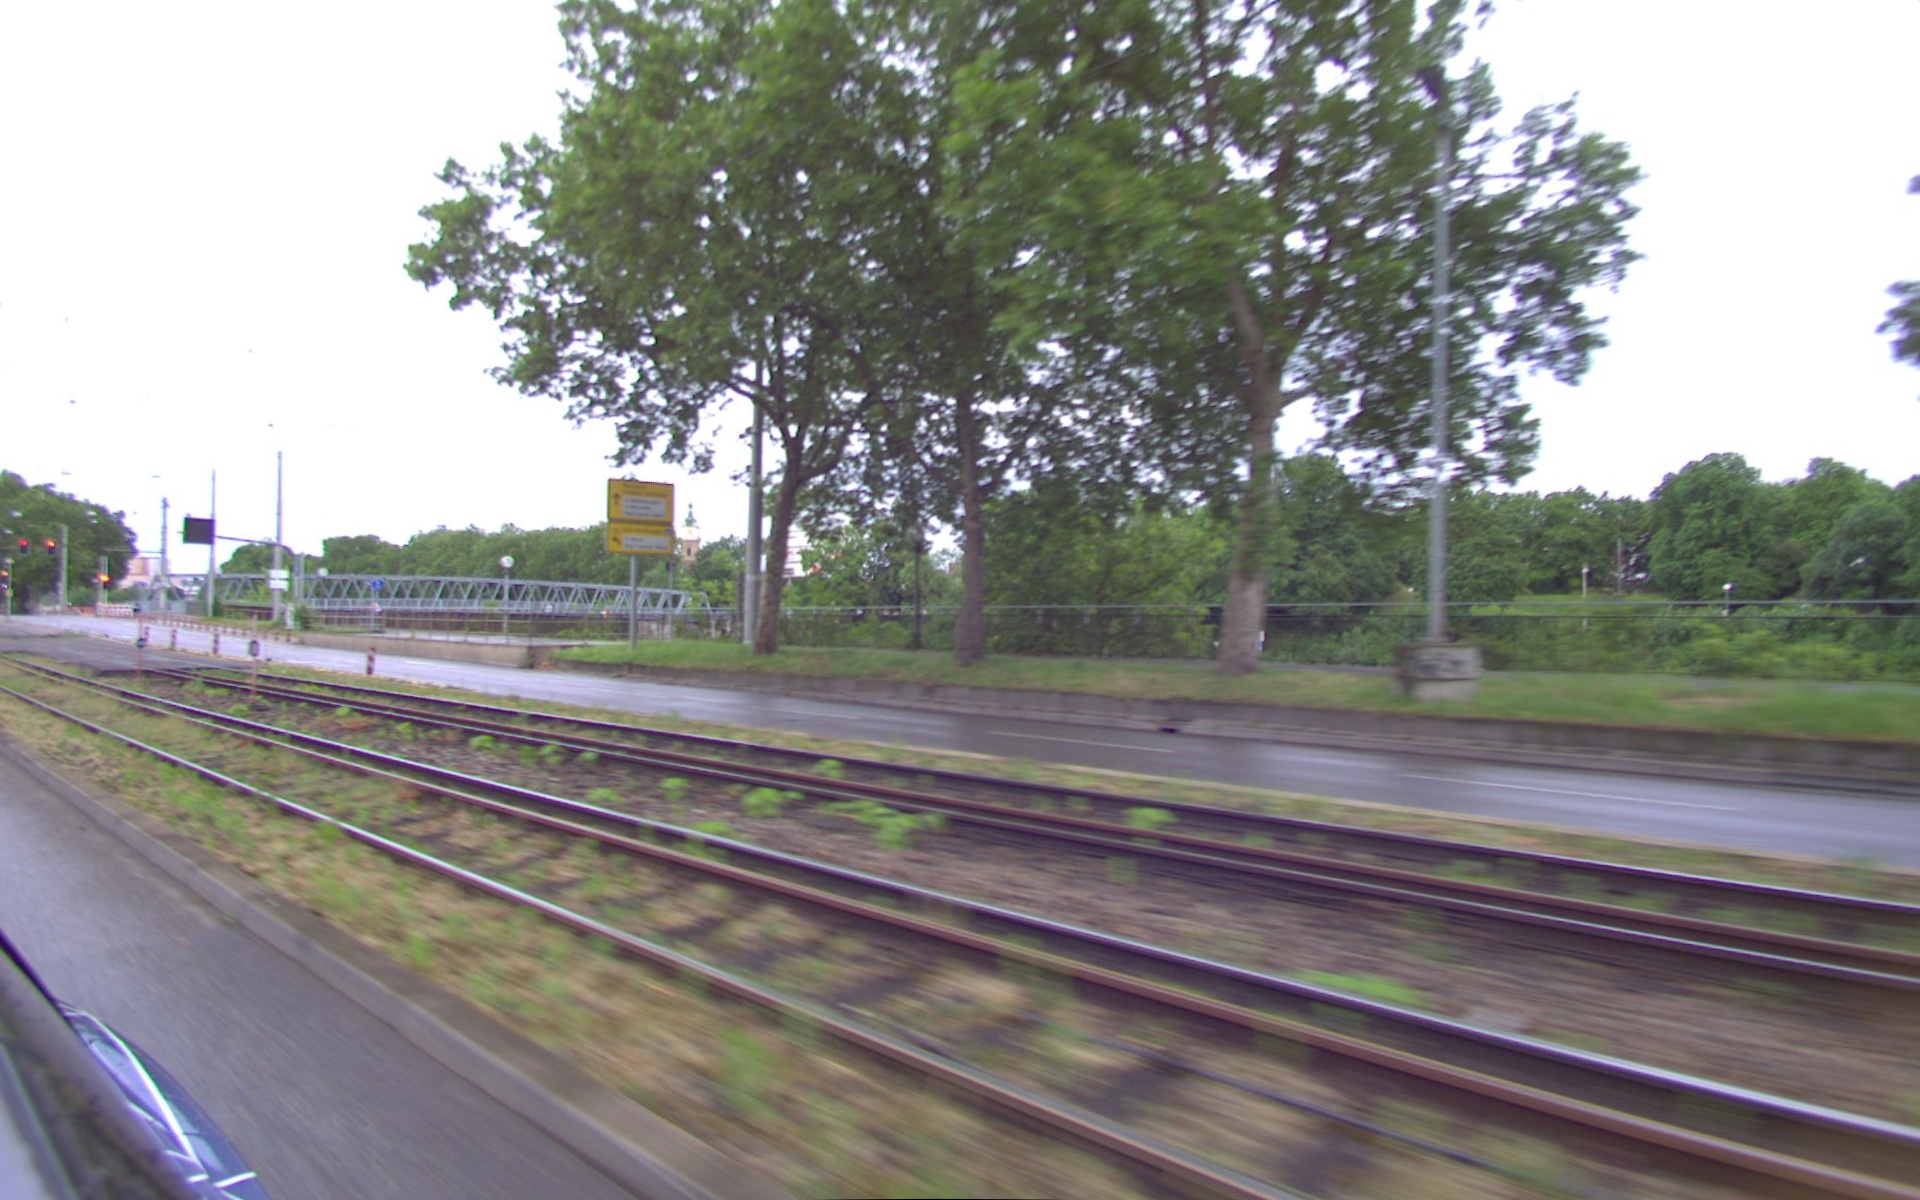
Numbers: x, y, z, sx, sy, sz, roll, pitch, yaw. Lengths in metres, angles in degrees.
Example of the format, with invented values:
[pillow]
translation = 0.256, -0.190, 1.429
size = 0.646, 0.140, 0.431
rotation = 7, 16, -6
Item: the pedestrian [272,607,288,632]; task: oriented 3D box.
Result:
[pedestrian]
translation = -46.028, 1.307, 68.486
size = 0.618, 1.700, 0.757
rotation = 0, -2, 40
